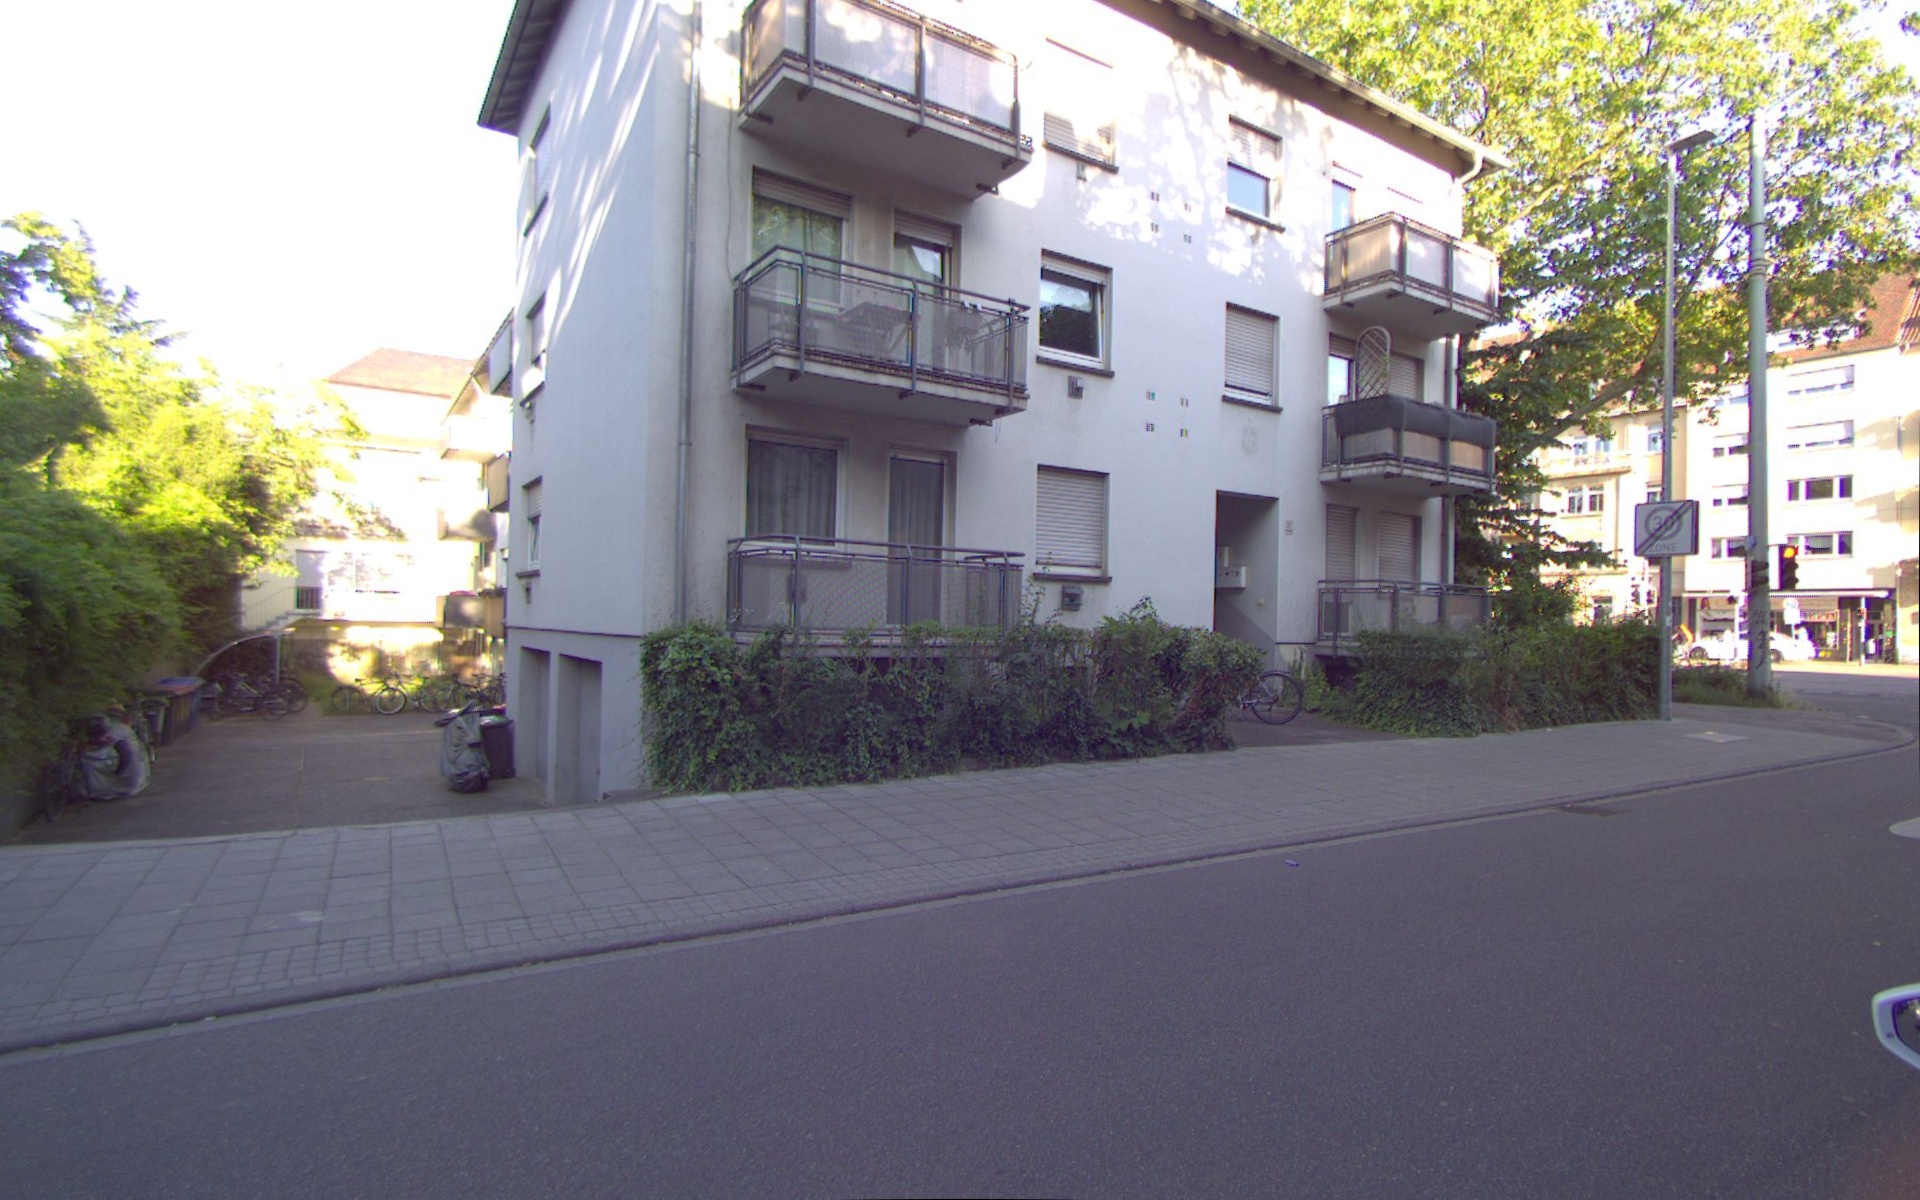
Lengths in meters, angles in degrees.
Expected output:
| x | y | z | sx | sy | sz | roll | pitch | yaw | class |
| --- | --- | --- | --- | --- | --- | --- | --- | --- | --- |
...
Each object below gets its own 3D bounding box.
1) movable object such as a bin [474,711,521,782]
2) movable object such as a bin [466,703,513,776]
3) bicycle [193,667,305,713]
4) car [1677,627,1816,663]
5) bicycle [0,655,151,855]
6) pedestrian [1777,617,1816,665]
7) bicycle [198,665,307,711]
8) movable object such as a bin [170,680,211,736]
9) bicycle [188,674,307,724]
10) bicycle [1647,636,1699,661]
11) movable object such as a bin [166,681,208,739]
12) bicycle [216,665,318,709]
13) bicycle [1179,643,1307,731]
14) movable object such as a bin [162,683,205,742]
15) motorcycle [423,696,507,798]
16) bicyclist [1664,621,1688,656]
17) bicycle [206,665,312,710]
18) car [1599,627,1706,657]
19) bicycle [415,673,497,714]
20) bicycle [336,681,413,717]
| x | y | z | sx | sy | sz | roll | pitch | yaw | class |
| --- | --- | --- | --- | --- | --- | --- | --- | --- | --- |
| -7.406 | 2.330 | 16.092 | 0.606 | 1.051 | 0.534 | 1 | -3 | -34 | movable object such as a bin |
| -7.922 | 2.331 | 16.904 | 0.606 | 1.129 | 0.795 | 1 | -3 | -33 | movable object such as a bin |
| -18.606 | 2.329 | 26.347 | 2.311 | 1.148 | 0.689 | 2 | -4 | -30 | bicycle |
| 35.585 | 2.007 | 45.586 | 1.818 | 1.479 | 4.672 | 1 | -1 | -35 | car |
| -10.607 | 1.659 | 11.981 | 0.961 | 1.917 | 4.156 | 1 | -2 | -32 | bicycle |
| 44.842 | 2.169 | 53.842 | 1.049 | 2.497 | 1.338 | 1 | 0 | -34 | pedestrian |
| -19.031 | 2.353 | 27.093 | 2.311 | 1.192 | 0.689 | 2 | -4 | -30 | bicycle |
| -16.368 | 2.291 | 21.388 | 0.606 | 1.129 | 0.795 | 1 | -3 | -33 | movable object such as a bin |
| -17.341 | 2.386 | 24.528 | 2.268 | 1.148 | 0.689 | 2 | -4 | -30 | bicycle |
| 38.771 | 2.639 | 54.651 | 0.630 | 1.263 | 2.243 | 1 | -1 | -33 | bicycle |
| -15.935 | 2.261 | 20.726 | 0.606 | 1.129 | 0.795 | 1 | -3 | -33 | movable object such as a bin |
| -19.648 | 2.454 | 28.543 | 2.311 | 1.192 | 0.689 | 2 | -4 | -30 | bicycle |
| 3.824 | 1.154 | 13.573 | 1.590 | 1.022 | 0.517 | 3 | 1 | 20 | bicycle |
| -15.494 | 2.229 | 20.056 | 0.606 | 1.129 | 0.795 | 1 | -3 | -33 | movable object such as a bin |
| -7.410 | 2.155 | 15.010 | 0.739 | 1.313 | 1.563 | 2 | -2 | -41 | motorcycle |
| 38.865 | 2.096 | 54.505 | 0.630 | 1.884 | 0.886 | 1 | -1 | -34 | bicyclist |
| -19.378 | 2.403 | 27.818 | 2.311 | 1.192 | 0.689 | 2 | -4 | -30 | bicycle |
| 35.221 | 2.114 | 51.157 | 1.648 | 1.367 | 4.193 | 1 | -1 | -35 | car |
| -13.917 | 2.577 | 27.747 | 1.982 | 1.085 | 0.561 | 2 | -4 | -30 | bicycle |
| -15.571 | 2.629 | 26.747 | 1.734 | 0.890 | 0.561 | 2 | -4 | -30 | bicycle |
